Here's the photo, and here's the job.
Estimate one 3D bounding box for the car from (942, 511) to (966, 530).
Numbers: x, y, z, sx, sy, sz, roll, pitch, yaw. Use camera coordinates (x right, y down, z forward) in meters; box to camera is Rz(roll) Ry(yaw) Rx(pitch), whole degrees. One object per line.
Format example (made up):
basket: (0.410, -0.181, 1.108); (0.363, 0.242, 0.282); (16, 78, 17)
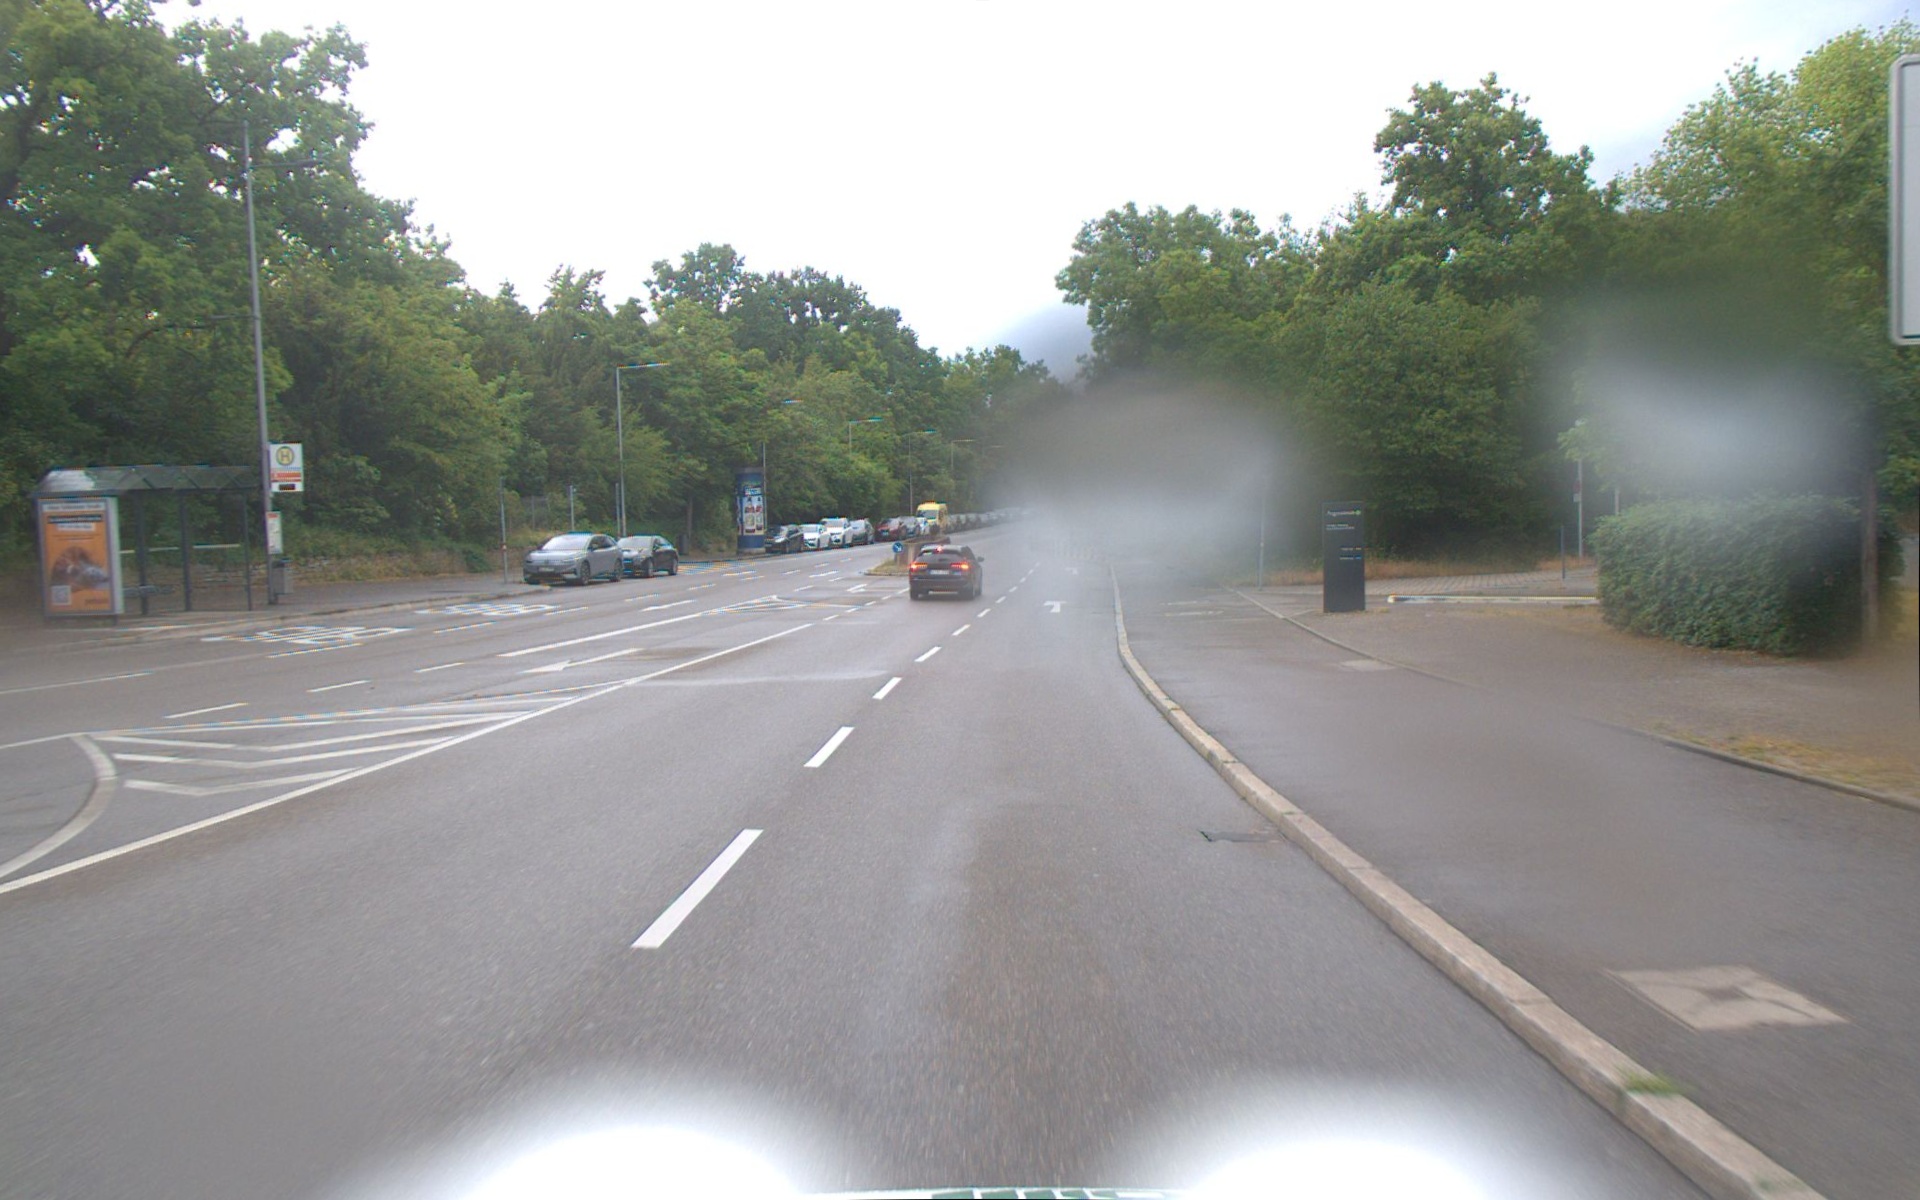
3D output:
car: (-0.508, -6.975, 145.224); (1.568, 1.536, 3.143); (0, 4, 9)

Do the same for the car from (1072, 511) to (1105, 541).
car: (7.246, -4.198, 93.601); (1.784, 1.642, 4.255); (0, 3, 3)

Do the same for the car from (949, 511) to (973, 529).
car: (0.125, -7.333, 150.531); (1.568, 1.536, 3.982); (0, 4, 9)

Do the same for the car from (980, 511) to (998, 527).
car: (2.925, -8.219, 167.621); (1.429, 1.598, 2.988); (-1, 4, 7)

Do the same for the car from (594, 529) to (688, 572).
car: (-11.104, -1.761, 57.907); (1.865, 1.438, 4.788); (1, 3, 7)

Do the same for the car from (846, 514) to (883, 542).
car: (-6.082, -4.647, 105.925); (1.694, 1.677, 4.576); (0, 3, 5)

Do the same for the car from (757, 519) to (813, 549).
car: (-9.142, -3.493, 86.744); (1.711, 1.470, 4.593); (0, 4, 10)

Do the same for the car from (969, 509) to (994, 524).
car: (2.081, -8.055, 159.837); (1.830, 1.326, 4.476); (0, 4, 8)

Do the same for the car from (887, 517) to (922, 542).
car: (-4.093, -5.225, 122.453); (1.951, 1.729, 4.621); (-1, 4, 6)

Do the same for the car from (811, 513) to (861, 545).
car: (-7.367, -4.255, 98.580); (1.951, 1.795, 4.966); (0, 3, 7)

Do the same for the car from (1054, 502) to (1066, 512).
car: (15.275, -14.215, 252.604); (1.637, 1.539, 3.635); (0, 4, 8)

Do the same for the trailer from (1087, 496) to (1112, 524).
trailer: (12.037, -7.763, 142.262); (1.865, 2.286, 4.774); (0, 4, 7)

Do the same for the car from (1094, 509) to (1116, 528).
car: (11.883, -6.660, 135.300); (1.783, 1.511, 4.204); (1, 3, 5)

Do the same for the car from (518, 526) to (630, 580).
car: (-12.038, -1.513, 51.943); (1.802, 1.616, 4.934); (1, 3, 7)

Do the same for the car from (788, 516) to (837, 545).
car: (-8.260, -3.909, 92.804); (1.682, 1.485, 4.714); (-1, 4, 8)

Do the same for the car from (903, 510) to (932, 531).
car: (-3.239, -6.127, 127.660); (1.583, 1.473, 3.661); (-2, 3, 9)

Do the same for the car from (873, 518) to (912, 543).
car: (-4.782, -4.950, 117.642); (1.878, 1.644, 4.495); (-1, 3, 9)

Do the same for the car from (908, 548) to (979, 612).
car: (-0.492, -0.587, 45.395); (1.843, 1.491, 4.001); (1, 4, -2)

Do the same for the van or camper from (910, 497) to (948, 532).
van or camper: (-2.495, -6.986, 134.528); (2.098, 2.672, 5.690); (-1, 4, 9)

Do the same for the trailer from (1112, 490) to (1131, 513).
trailer: (18.396, -11.255, 188.328); (2.087, 2.604, 4.302); (-1, 4, 6)
